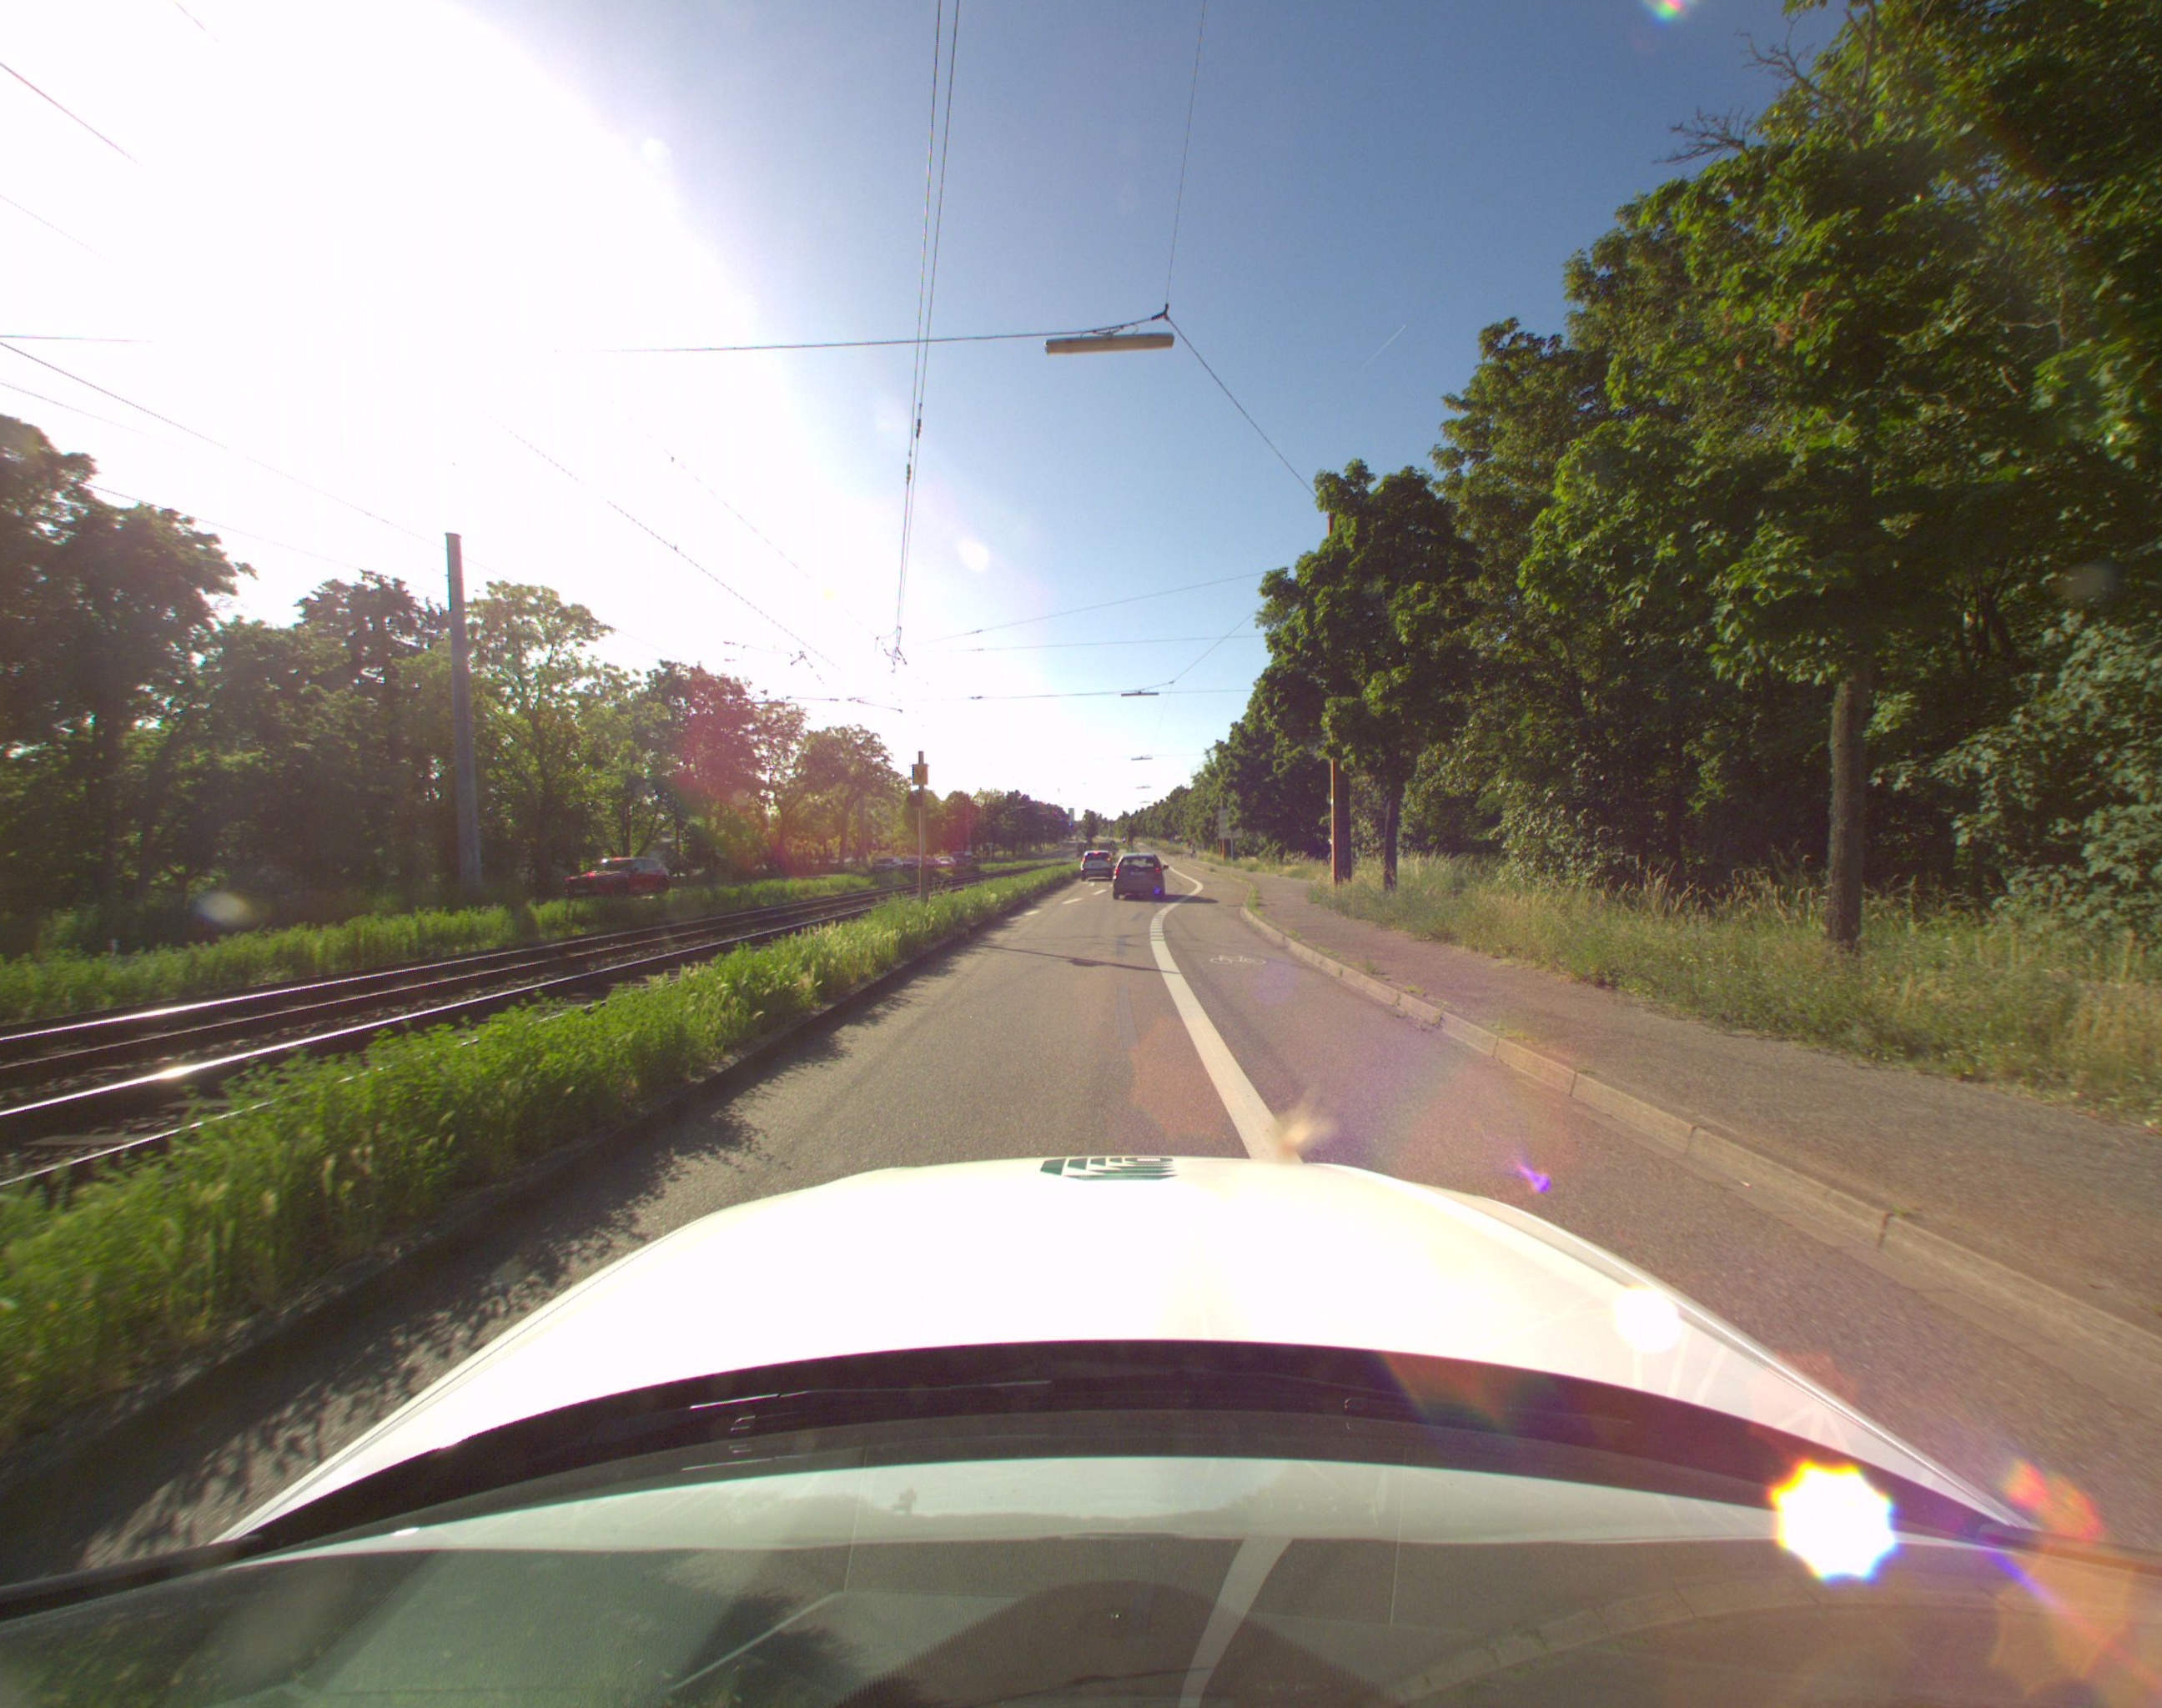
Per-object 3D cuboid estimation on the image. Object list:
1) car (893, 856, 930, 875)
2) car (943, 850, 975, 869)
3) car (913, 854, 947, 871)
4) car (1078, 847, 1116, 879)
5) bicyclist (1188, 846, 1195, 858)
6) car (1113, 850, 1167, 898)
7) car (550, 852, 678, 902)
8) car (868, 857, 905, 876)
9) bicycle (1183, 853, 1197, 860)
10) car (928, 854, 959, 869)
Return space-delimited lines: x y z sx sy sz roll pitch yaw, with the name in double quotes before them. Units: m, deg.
"car" -14.789 0.976 71.271 1.985 1.574 4.439 -1 0 3
"car" -13.379 0.567 89.561 2.185 1.891 4.800 -1 0 7
"car" -14.263 0.780 77.128 1.984 1.437 4.421 -1 1 5
"car" 0.904 0.451 44.645 1.842 1.606 4.259 -1 0 4
"bicyclist" 16.540 -0.239 121.791 0.903 1.745 0.767 -3 -1 15
"car" 2.024 0.645 28.054 1.699 1.508 4.004 -1 0 4
"car" -17.341 0.804 30.563 1.996 1.702 4.471 -1 0 3
"car" -15.328 0.960 64.414 1.728 1.494 4.331 0 0 3
"bicycle" 16.369 0.414 121.841 1.905 0.998 0.767 -3 -1 15
"car" -13.997 0.753 83.210 1.919 1.437 4.701 -1 1 5
